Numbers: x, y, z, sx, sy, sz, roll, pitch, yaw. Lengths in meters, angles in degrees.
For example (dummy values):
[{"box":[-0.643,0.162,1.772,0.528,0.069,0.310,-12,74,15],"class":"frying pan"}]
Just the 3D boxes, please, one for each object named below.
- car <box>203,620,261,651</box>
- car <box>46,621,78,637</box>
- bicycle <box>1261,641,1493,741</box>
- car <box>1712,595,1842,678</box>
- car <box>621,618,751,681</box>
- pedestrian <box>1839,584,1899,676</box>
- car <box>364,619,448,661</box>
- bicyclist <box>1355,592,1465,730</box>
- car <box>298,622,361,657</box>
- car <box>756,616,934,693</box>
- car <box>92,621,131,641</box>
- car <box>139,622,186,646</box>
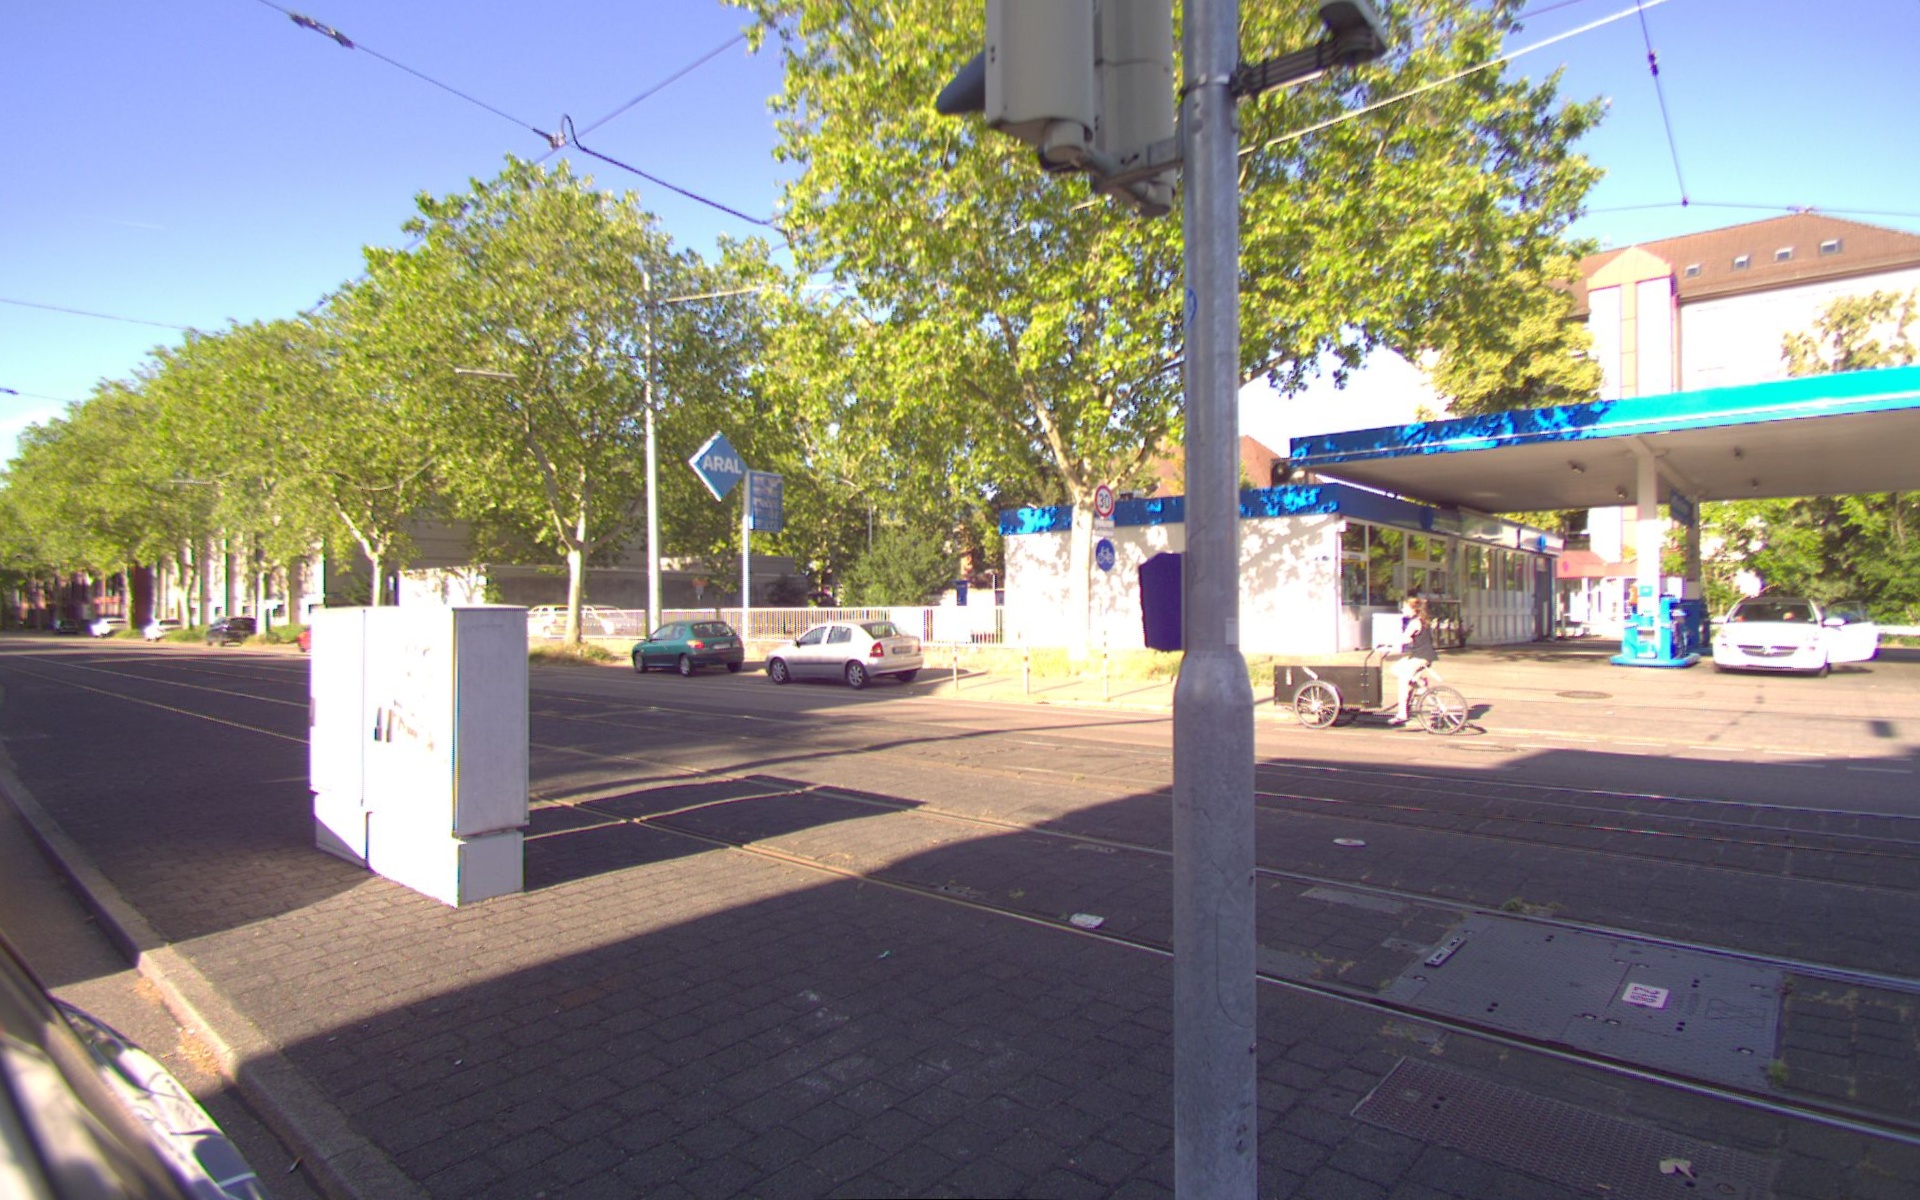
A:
[{"box":[-40.754,1.950,56.595,3.998,1.674,1.779,-1,-1,41],"class":"car"},{"box":[-85.321,2.727,96.125,3.998,1.525,1.779,-1,-1,41],"class":"car"},{"box":[5.233,1.096,12.832,2.518,1.110,1.045,-1,-2,41],"class":"bicycle"},{"box":[16.025,0.675,19.908,1.812,1.453,3.947,-1,-1,39],"class":"car"},{"box":[-7.330,1.275,26.934,3.519,1.475,1.670,-1,2,43],"class":"car"},{"box":[17.123,0.562,19.079,0.760,1.705,0.579,-1,-2,37],"class":"pedestrian"},{"box":[-21.942,1.548,40.055,3.652,1.541,1.802,-1,-1,41],"class":"car"},{"box":[5.682,0.737,12.771,1.027,1.650,0.922,-2,-1,41],"class":"bicyclist"},{"box":[-28.555,1.748,45.803,3.045,1.519,1.620,-1,-1,41],"class":"car"},{"box":[-2.632,1.157,22.664,3.965,1.475,1.771,-1,2,43],"class":"car"},{"box":[-66.682,2.398,79.535,3.998,1.525,1.779,-1,-1,41],"class":"car"},{"box":[-53.719,2.262,68.169,3.998,1.509,1.779,-1,-1,41],"class":"car"}]
